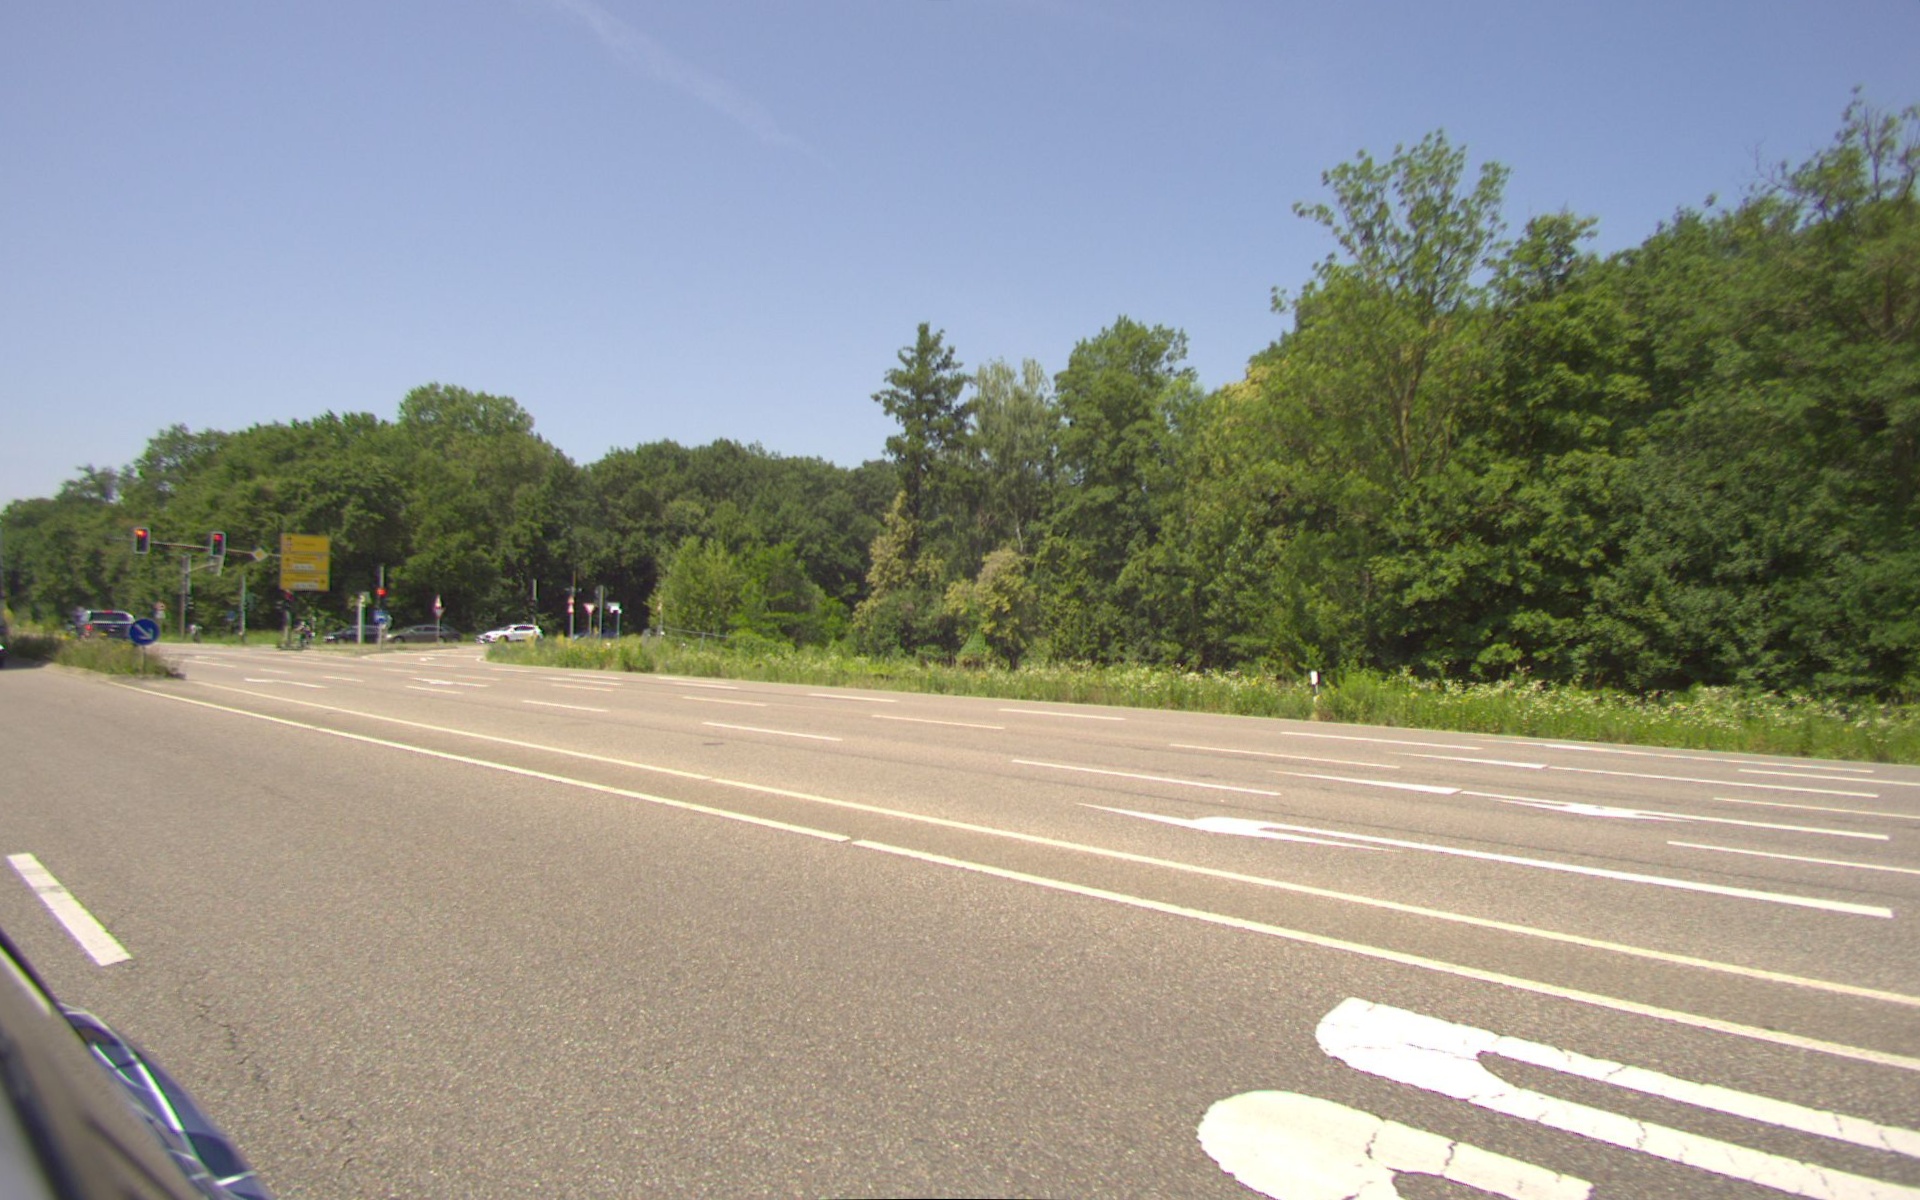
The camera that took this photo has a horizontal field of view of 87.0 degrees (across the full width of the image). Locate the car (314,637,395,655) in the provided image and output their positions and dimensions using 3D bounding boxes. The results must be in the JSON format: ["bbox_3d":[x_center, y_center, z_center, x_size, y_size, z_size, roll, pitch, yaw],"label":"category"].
[{"bbox_3d":[-44.934,3.400,75.133,2.105,1.300,4.754,-2,-3,42],"label":"car"}]

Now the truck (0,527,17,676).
[{"bbox_3d":[-30.250,0.144,29.529,11.312,3.914,2.718,-2,-1,41],"label":"truck"}]

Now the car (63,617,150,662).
[{"bbox_3d":[-34.894,1.611,41.334,5.364,1.691,1.972,-2,-4,42],"label":"car"}]

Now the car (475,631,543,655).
[{"bbox_3d":[-37.389,3.585,83.996,2.066,1.910,4.753,-2,-3,42],"label":"car"}]

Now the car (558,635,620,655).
[{"bbox_3d":[-32.696,3.974,89.250,1.998,1.770,4.756,-2,-3,40],"label":"car"}]

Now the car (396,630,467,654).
[{"bbox_3d":[-43.268,3.435,82.947,1.999,1.913,4.755,-2,-3,41],"label":"car"}]

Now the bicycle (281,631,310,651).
[{"bbox_3d":[-37.178,2.293,56.652,0.712,1.071,1.874,1,-2,-11],"label":"bicycle"}]

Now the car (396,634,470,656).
[{"bbox_3d":[-41.317,3.512,79.346,2.001,1.648,4.750,-2,-3,45],"label":"car"}]

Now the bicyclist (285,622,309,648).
[{"bbox_3d":[-37.164,1.959,56.746,0.911,1.471,0.718,1,-3,-11],"label":"bicyclist"}]

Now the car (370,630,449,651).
[{"bbox_3d":[-40.352,2.996,74.308,1.860,1.530,4.756,-2,-3,40],"label":"car"}]

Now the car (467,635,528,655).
[{"bbox_3d":[-39.589,3.865,86.626,1.871,1.648,4.353,-2,-3,40],"label":"car"}]
